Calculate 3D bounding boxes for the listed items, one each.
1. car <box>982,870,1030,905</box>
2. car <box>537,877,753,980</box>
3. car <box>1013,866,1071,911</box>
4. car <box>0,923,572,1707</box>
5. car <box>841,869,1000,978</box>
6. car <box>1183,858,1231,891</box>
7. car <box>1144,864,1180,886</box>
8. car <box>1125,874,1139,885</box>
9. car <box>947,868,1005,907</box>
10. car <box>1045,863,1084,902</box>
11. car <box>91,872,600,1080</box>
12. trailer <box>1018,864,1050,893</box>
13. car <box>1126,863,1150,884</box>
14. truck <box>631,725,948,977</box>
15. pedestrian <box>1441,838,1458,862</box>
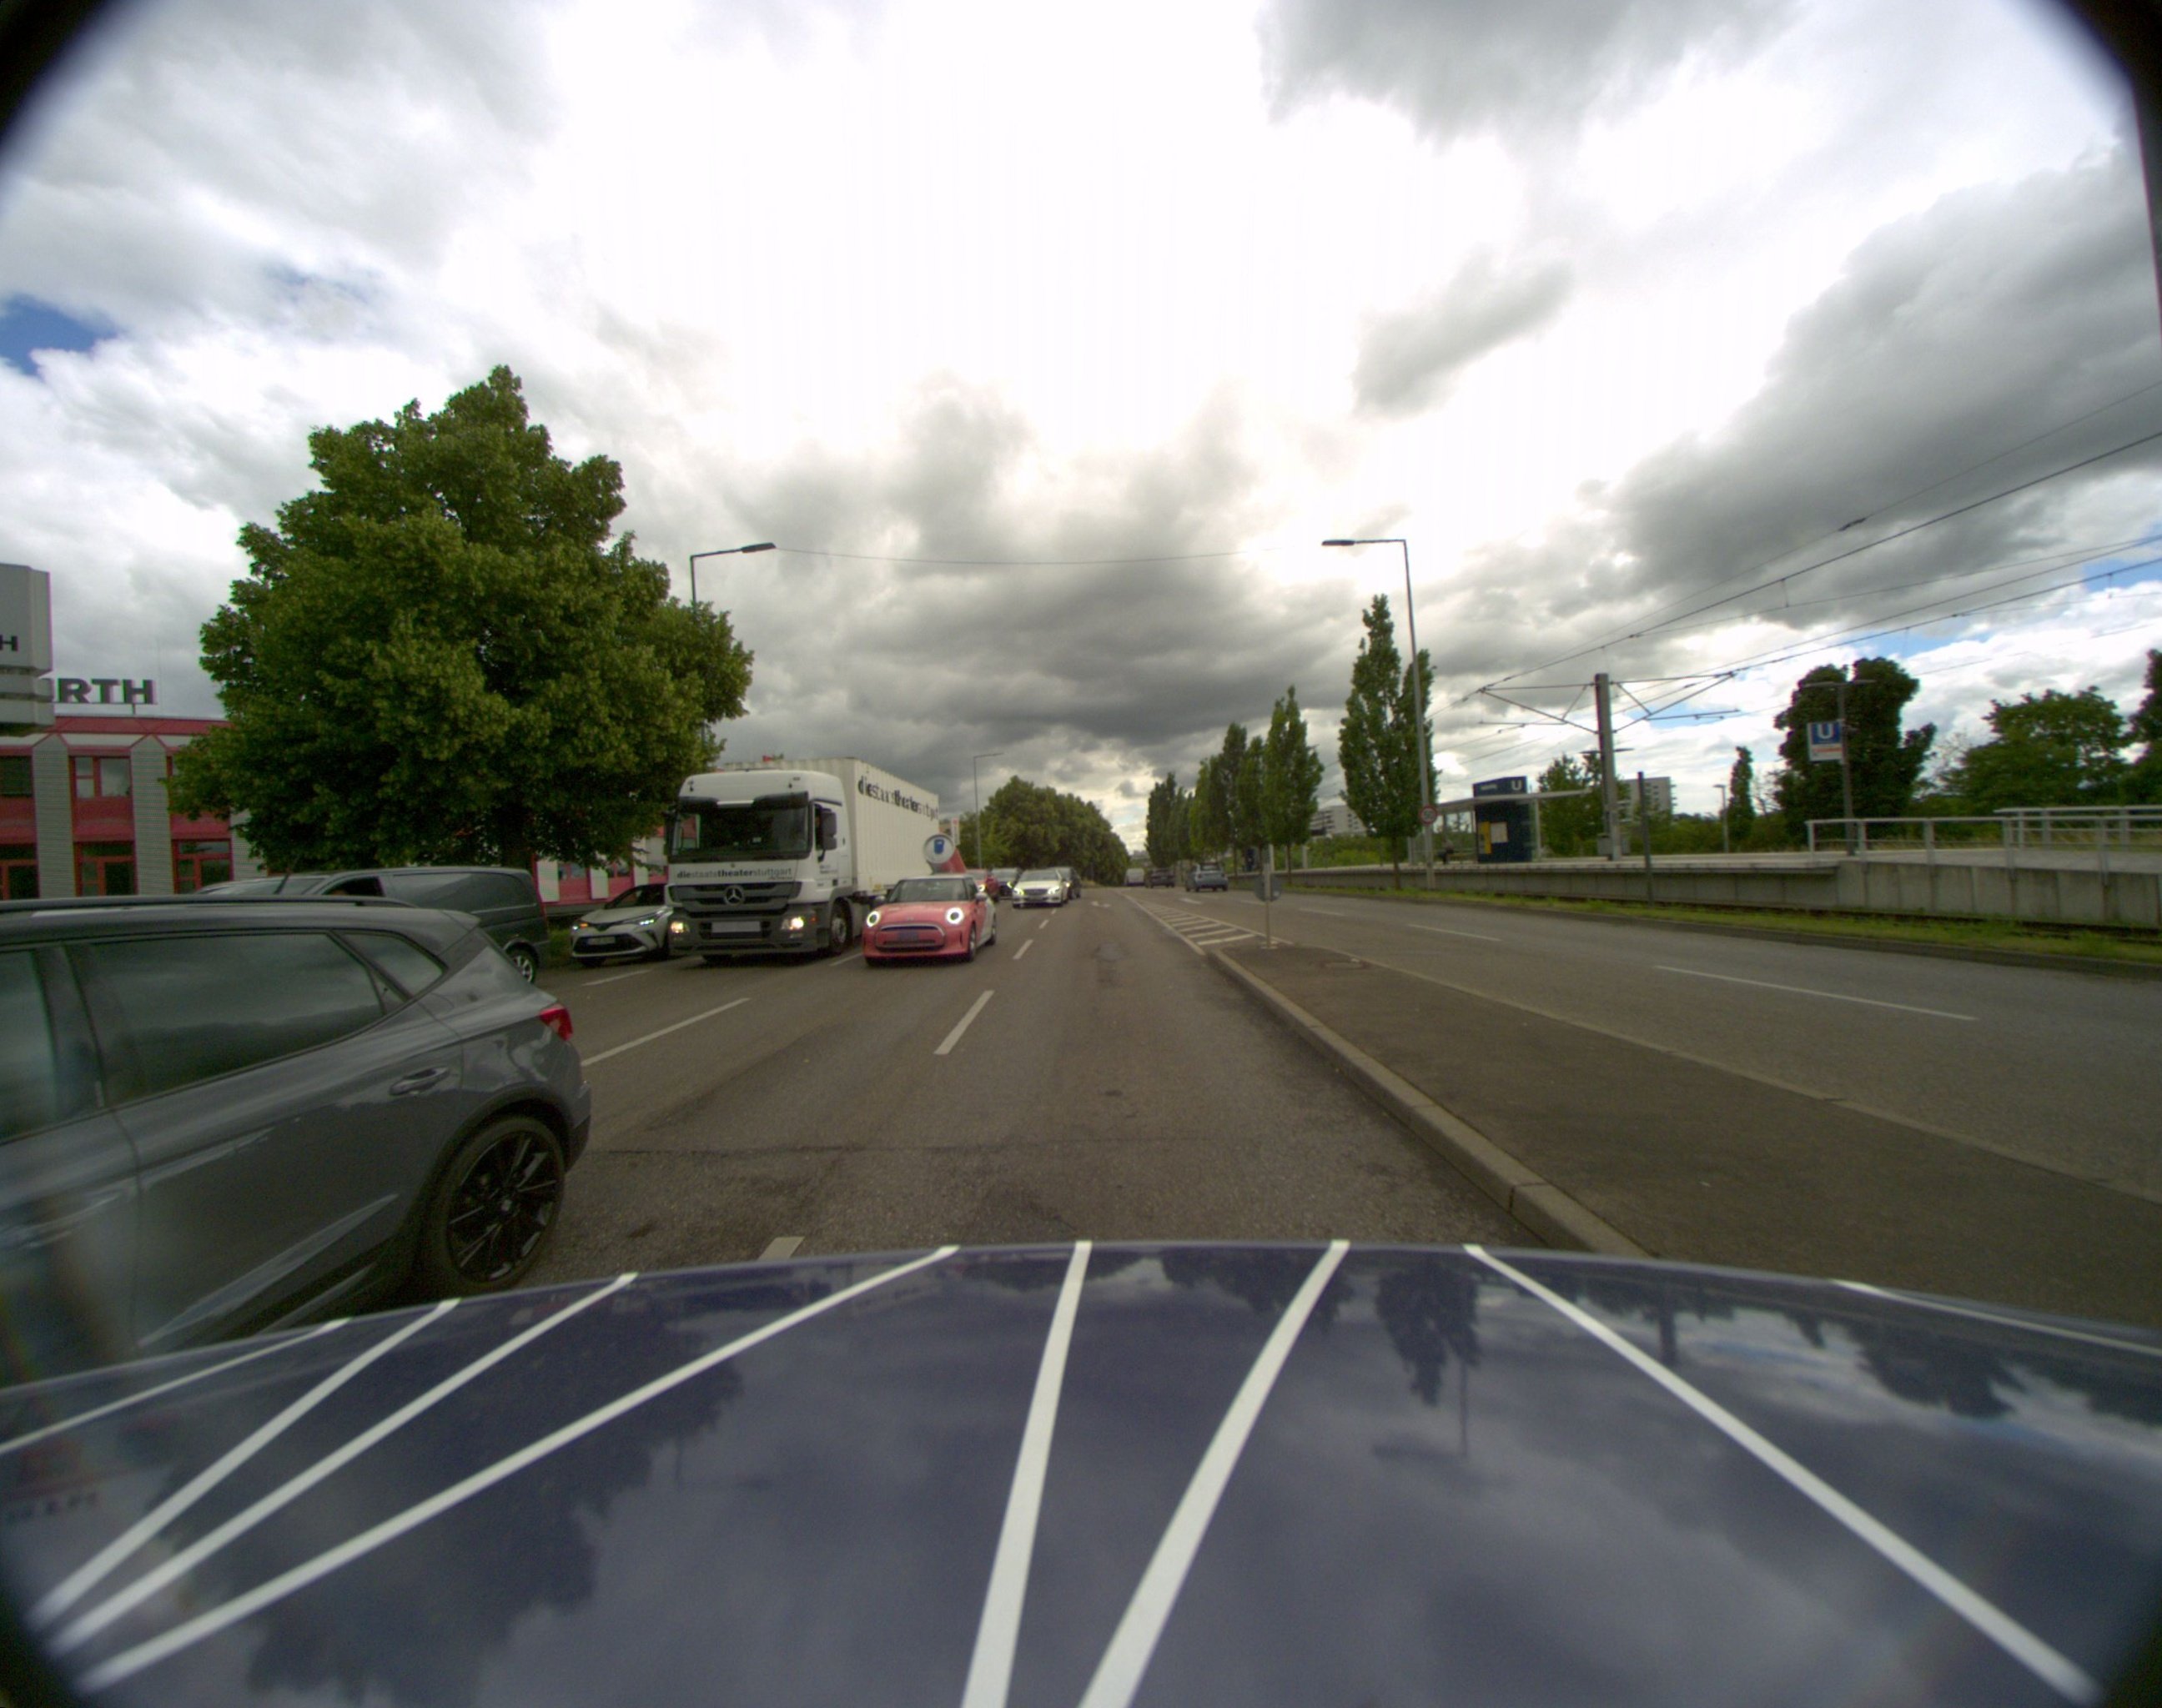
[{"bbox_3d":[-3.853,1.705,39.797,1.797,1.521,4.219,-2,1,4],"label":"car"},{"bbox_3d":[-8.601,1.380,15.481,1.844,1.507,4.106,-6,0,1],"label":"car"},{"bbox_3d":[-1.442,1.289,29.709,1.804,1.403,4.317,-2,1,2],"label":"car"},{"bbox_3d":[-3.018,1.039,1.286,1.628,1.484,3.838,-2,-1,1],"label":"car"},{"bbox_3d":[-2.574,1.078,13.041,1.825,1.497,3.495,-2,0,2],"label":"car"},{"bbox_3d":[6.627,1.055,40.348,1.761,1.519,3.599,-2,1,-3],"label":"car"},{"bbox_3d":[5.992,1.542,56.712,1.876,1.416,4.430,-2,1,-4],"label":"car"},{"bbox_3d":[7.352,3.614,109.337,1.699,1.440,3.662,-2,0,7],"label":"car"},{"bbox_3d":[-4.543,1.406,33.369,1.851,1.521,4.377,-2,-1,0],"label":"car"},{"bbox_3d":[-0.717,1.277,36.016,1.669,1.589,3.996,-2,1,0],"label":"car"},{"bbox_3d":[-8.732,1.261,9.827,1.763,1.764,4.675,-6,0,2],"label":"car"},{"bbox_3d":[-3.179,1.649,51.865,1.775,1.650,3.996,-2,2,1],"label":"trailer"},{"bbox_3d":[5.919,1.971,80.065,1.920,1.953,5.372,-2,1,-1],"label":"car"},{"bbox_3d":[-5.510,-0.028,17.112,2.809,3.880,10.183,-2,0,2],"label":"truck"},{"bbox_3d":[17.794,-0.197,36.692,0.601,1.148,0.447,-2,1,1],"label":"pedestrian"}]
